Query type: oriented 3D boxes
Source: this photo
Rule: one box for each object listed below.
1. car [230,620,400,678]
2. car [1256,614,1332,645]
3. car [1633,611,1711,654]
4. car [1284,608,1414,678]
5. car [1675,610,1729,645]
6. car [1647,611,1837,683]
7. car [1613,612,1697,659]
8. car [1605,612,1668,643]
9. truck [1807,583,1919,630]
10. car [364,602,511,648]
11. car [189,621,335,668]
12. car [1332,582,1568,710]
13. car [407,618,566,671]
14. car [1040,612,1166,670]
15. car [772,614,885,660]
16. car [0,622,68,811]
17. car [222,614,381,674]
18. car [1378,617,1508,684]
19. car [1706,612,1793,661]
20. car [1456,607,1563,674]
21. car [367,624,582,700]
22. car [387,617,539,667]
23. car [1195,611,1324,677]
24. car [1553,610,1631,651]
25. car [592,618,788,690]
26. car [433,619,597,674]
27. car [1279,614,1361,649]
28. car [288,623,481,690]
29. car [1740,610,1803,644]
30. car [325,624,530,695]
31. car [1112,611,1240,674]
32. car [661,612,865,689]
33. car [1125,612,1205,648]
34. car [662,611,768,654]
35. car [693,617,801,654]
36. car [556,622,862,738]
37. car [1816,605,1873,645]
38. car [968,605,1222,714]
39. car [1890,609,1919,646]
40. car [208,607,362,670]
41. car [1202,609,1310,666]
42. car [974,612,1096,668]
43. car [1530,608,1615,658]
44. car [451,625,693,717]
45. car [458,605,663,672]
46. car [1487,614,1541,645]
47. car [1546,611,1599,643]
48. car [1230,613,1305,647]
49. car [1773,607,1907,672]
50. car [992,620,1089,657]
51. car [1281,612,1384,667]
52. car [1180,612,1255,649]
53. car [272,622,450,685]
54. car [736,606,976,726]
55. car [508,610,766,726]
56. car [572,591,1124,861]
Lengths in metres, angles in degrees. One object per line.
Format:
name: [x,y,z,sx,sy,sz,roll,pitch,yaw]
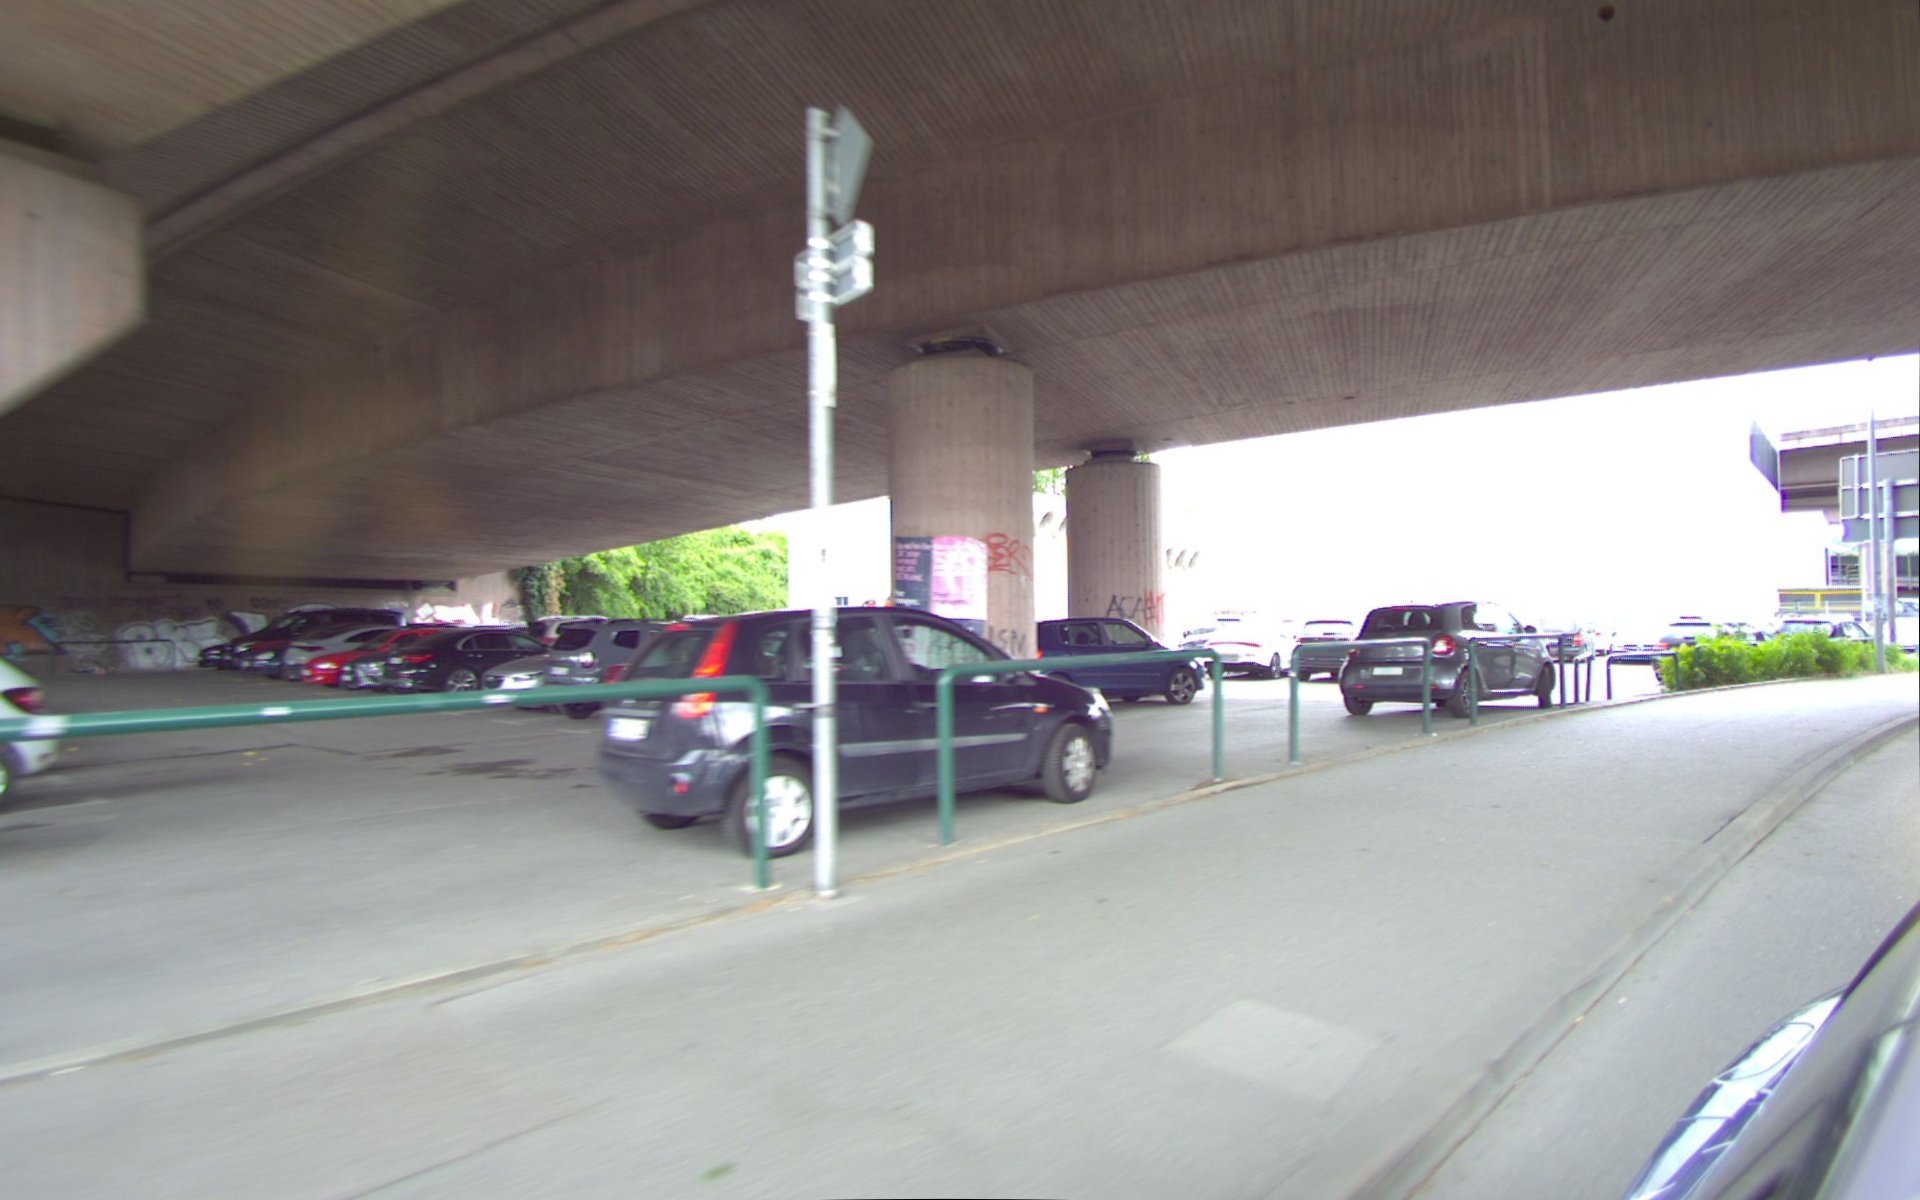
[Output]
car: [-17.553,1.284,27.665,1.671,1.445,3.609,-1,-1,40]
car: [16.148,1.388,48.803,1.832,1.444,4.372,-1,-1,43]
car: [27.338,1.202,38.815,1.832,1.533,4.430,-1,-1,43]
car: [9.939,1.022,25.705,1.830,1.613,4.130,-1,-1,40]
car: [34.442,1.257,46.958,1.618,1.564,3.049,-1,-1,44]
car: [17.933,1.017,23.196,4.162,1.498,1.738,0,-1,-26]
car: [23.817,1.173,34.616,1.850,1.494,4.617,-1,-1,41]
car: [32.335,1.288,48.304,1.770,1.401,4.292,-1,-1,44]
truck: [60.696,0.471,66.908,2.999,2.970,6.913,1,-2,-43]
car: [-17.901,0.828,34.820,1.830,1.484,4.130,-1,-1,40]
car: [-22.602,1.396,32.871,1.671,1.407,3.609,-1,-1,40]
car: [6.789,0.594,13.929,3.349,1.553,1.609,0,-3,-39]
car: [-14.758,1.339,31.708,1.830,1.484,4.130,-1,-1,40]
car: [4.354,1.175,30.428,1.830,1.613,4.130,-1,-1,40]
car: [-4.930,1.350,38.394,1.830,1.613,4.130,-1,-1,40]
car: [-9.596,0.991,7.731,1.629,1.572,3.957,-1,-1,37]
car: [-19.254,1.231,29.690,1.671,1.619,3.609,-1,-1,40]
car: [11.750,1.161,24.489,1.830,1.439,4.130,-1,-1,40]
car: [25.952,1.147,33.206,1.851,1.494,4.613,-1,-1,43]
car: [15.314,1.057,28.107,1.737,1.696,4.404,-1,-1,40]
car: [-10.411,1.261,21.898,1.830,1.445,3.805,-1,-1,40]
car: [-16.224,1.328,33.175,1.830,1.484,4.130,-1,-1,40]
car: [8.104,1.107,27.178,1.830,1.613,4.130,-1,-1,40]
car: [25.498,1.181,40.775,1.832,1.533,4.430,-1,-1,43]
car: [-6.174,1.178,23.491,1.830,1.484,4.130,-1,-1,40]
car: [-13.190,1.332,30.187,1.830,1.484,4.130,-1,-1,40]
car: [15.279,1.293,42.838,1.777,1.410,4.370,-1,-1,41]
car: [-14.024,1.320,24.828,1.671,1.445,3.805,-1,-1,40]
car: [35.862,1.166,44.684,1.770,1.401,4.292,-1,-1,44]
car: [-12.209,1.299,23.357,1.830,1.445,3.805,-1,-1,40]
car: [6.198,1.142,28.731,1.830,1.613,4.130,-1,-1,40]
car: [-4.175,1.009,21.940,1.830,1.484,4.130,-1,-1,40]
car: [9.596,1.370,47.169,1.761,1.552,4.422,-1,-1,41]
car: [-10.347,1.321,42.907,1.830,1.710,4.130,-1,-1,40]
car: [-8.688,1.419,41.513,1.830,1.427,4.130,-1,-1,40]
car: [-3.777,1.138,15.754,1.832,1.489,4.309,-3,-2,44]
car: [38.379,1.046,43.896,1.769,1.608,4.294,-1,-1,42]
car: [2.253,0.929,16.866,3.780,1.526,1.793,-2,-2,-26]
car: [40.121,1.125,42.170,4.479,1.475,1.771,0,-1,-44]
car: [-20.795,1.134,31.262,1.875,1.811,3.609,-1,-1,40]
car: [9.696,1.180,32.990,1.748,1.713,4.367,-1,-1,40]
car: [2.447,1.217,32.194,1.830,1.613,4.130,-1,-1,40]
car: [21.987,1.131,36.263,1.850,1.649,4.552,-1,-1,41]
car: [-7.096,1.222,18.772,1.830,1.445,3.805,-1,-1,40]
car: [-11.173,1.016,28.610,2.081,1.699,5.031,-1,-1,40]
car: [28.173,1.446,51.405,1.766,1.475,4.301,-1,-1,38]
car: [30.099,1.304,49.699,1.766,1.475,4.301,-1,-1,38]
car: [13.646,1.297,44.773,1.761,1.410,3.917,-1,-1,41]
car: [21.847,0.943,25.142,2.704,1.498,1.546,0,-1,-26]
car: [3.208,1.451,39.649,1.701,1.322,4.198,-1,-1,40]
car: [11.612,1.182,31.422,1.748,1.577,4.028,-1,-1,40]
car: [11.662,1.345,45.704,1.761,1.552,3.917,-1,-1,41]
car: [-15.361,1.314,26.070,1.671,1.445,3.609,-1,-1,40]
car: [-1.425,0.892,14.726,1.523,1.519,3.325,-4,-3,40]
car: [-5.365,1.040,17.150,1.830,1.720,3.805,-1,-1,40]
car: [-0.660,0.698,7.067,3.515,1.415,1.609,0,-3,-39]
